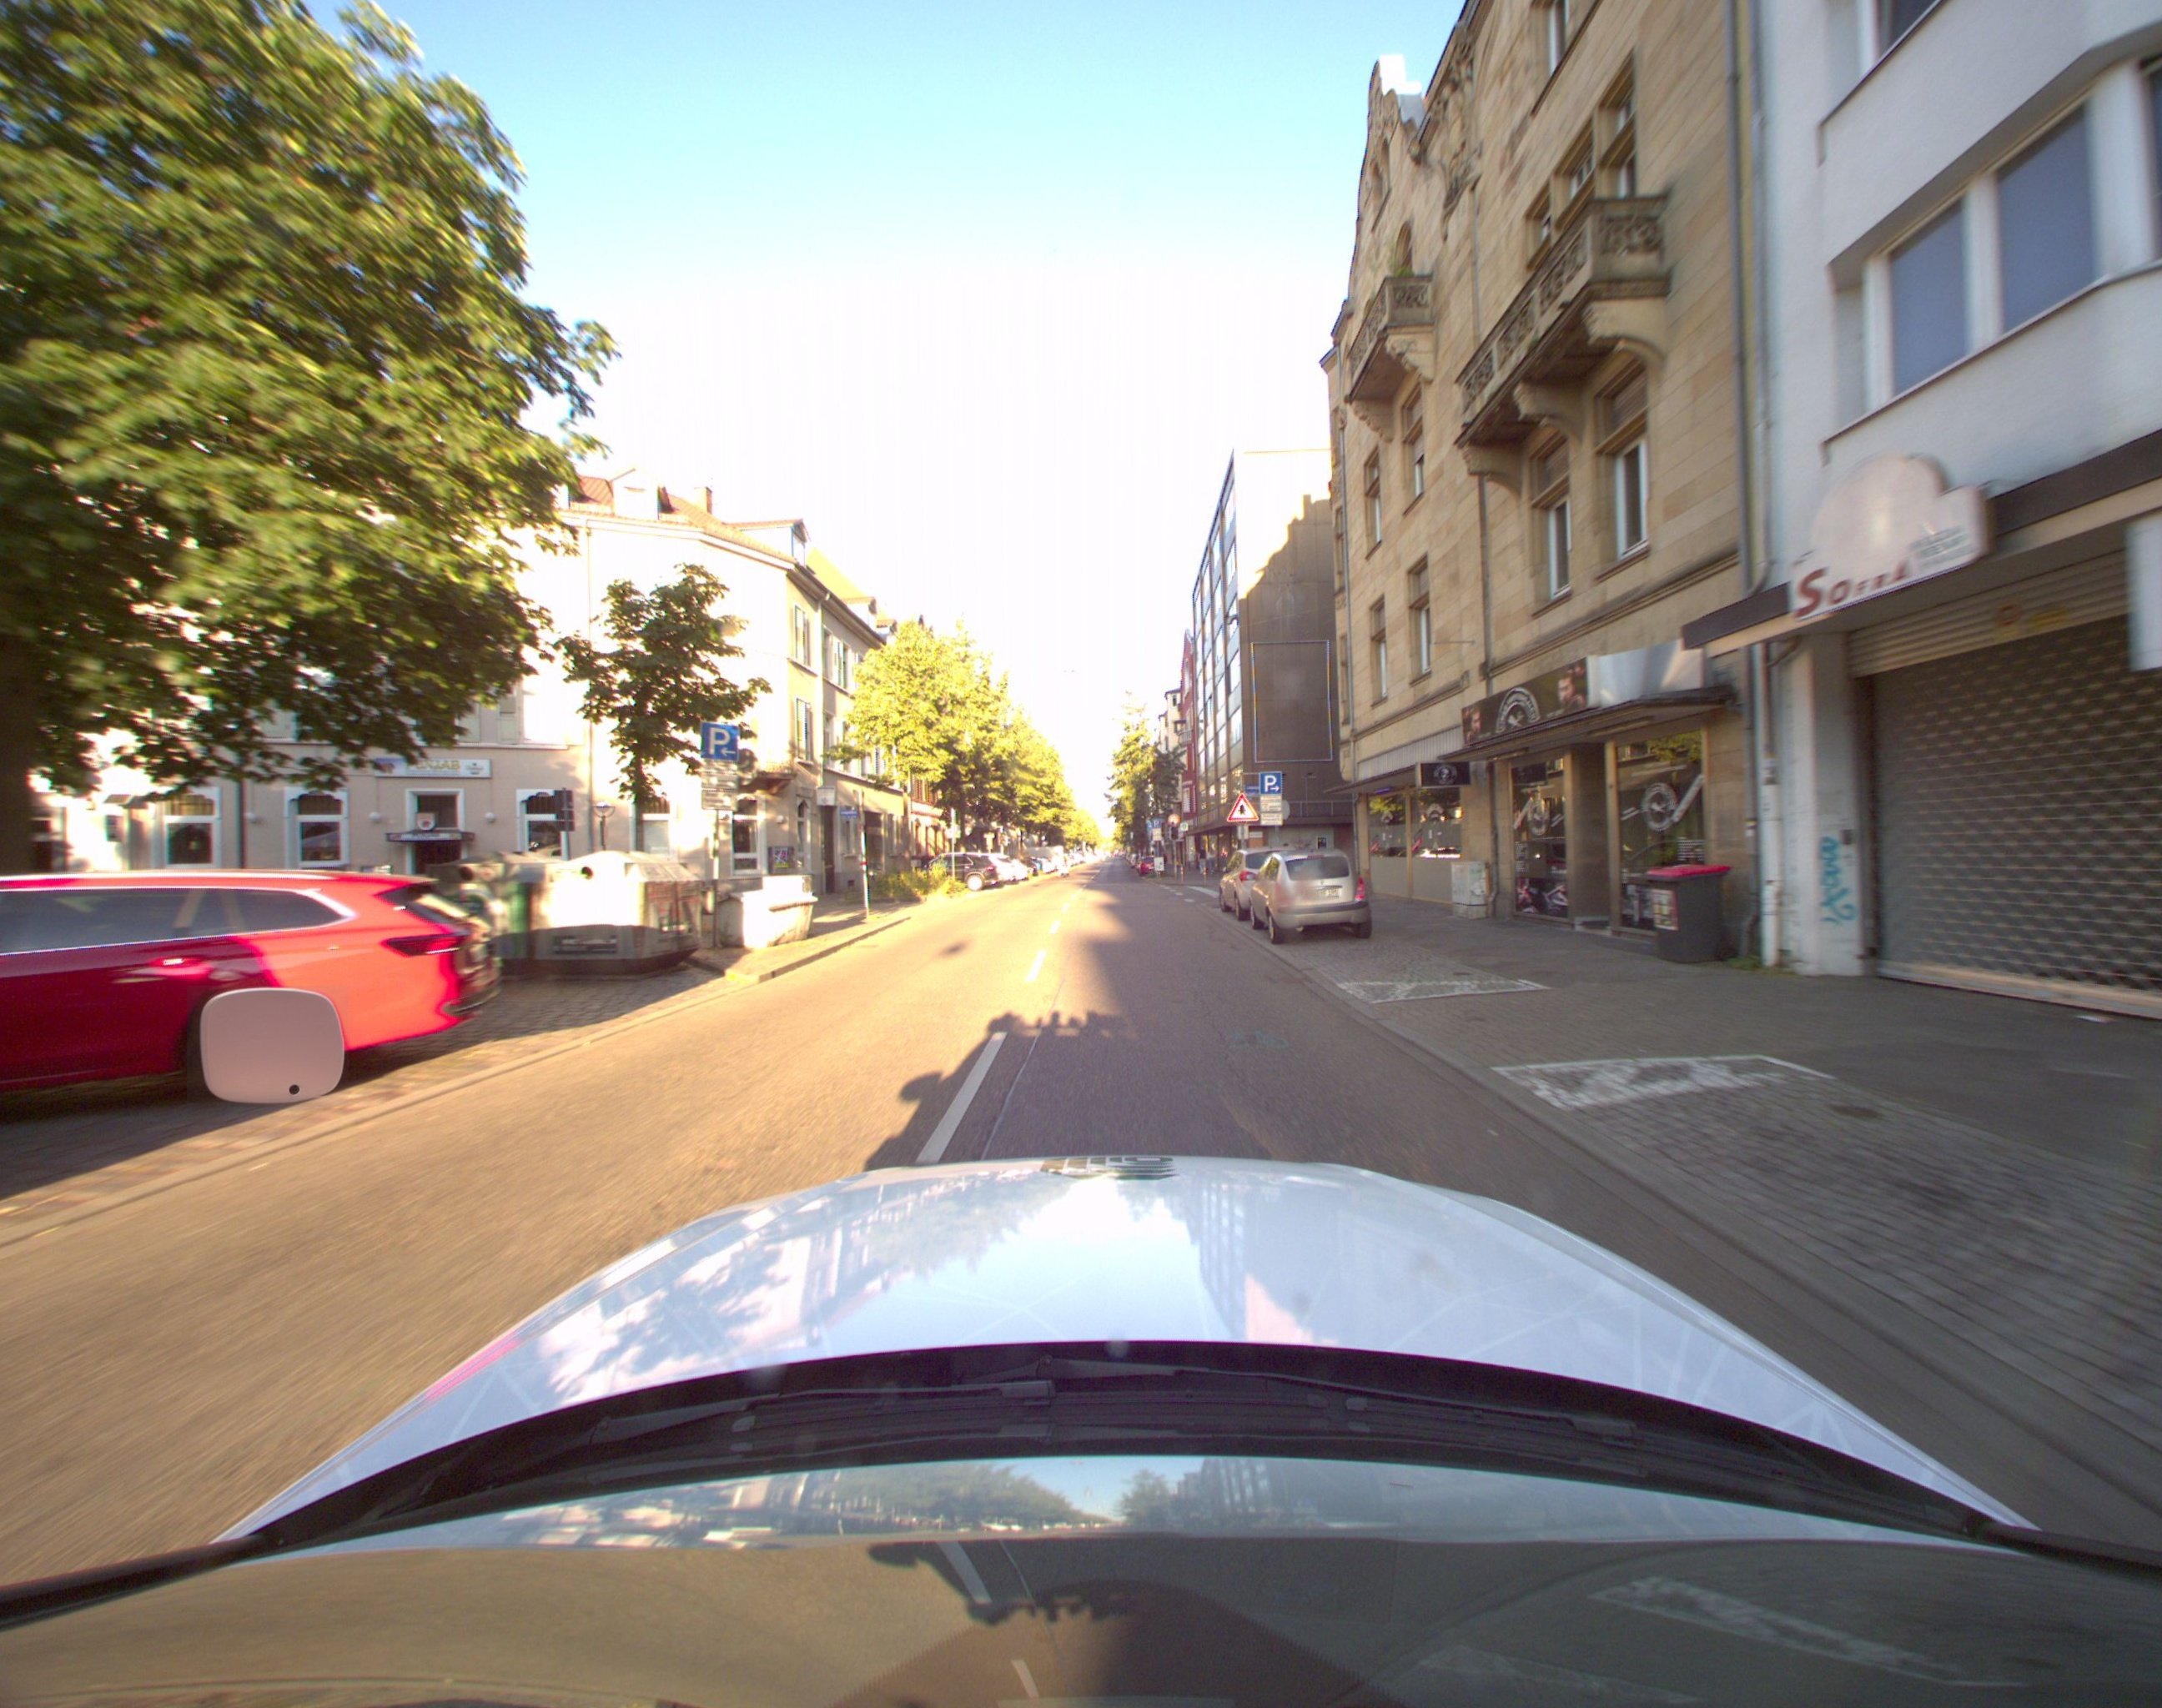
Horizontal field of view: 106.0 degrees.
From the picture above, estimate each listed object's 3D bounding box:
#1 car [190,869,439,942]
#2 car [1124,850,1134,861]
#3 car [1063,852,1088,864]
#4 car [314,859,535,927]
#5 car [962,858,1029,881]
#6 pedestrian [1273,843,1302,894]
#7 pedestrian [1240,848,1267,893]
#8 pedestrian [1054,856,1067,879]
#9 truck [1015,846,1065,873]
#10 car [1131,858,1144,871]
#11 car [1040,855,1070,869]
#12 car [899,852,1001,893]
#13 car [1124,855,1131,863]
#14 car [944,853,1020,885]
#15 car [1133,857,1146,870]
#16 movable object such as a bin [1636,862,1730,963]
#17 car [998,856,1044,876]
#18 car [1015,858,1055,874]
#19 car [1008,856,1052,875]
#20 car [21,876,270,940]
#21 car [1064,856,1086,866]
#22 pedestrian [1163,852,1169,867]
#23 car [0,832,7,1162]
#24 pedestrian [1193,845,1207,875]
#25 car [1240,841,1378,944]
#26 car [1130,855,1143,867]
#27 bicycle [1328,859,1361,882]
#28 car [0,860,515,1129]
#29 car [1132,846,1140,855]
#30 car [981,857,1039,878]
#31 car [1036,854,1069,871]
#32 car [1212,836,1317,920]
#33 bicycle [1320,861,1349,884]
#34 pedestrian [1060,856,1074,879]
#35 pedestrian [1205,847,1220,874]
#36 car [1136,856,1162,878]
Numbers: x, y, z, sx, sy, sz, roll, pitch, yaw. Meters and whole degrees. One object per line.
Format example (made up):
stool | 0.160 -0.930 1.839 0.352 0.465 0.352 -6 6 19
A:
car | -16.492 1.052 17.748 3.526 1.381 1.695 -1 0 -21
car | 7.047 0.272 120.045 1.305 1.600 2.660 -1 -1 0
car | -0.879 0.595 125.148 3.725 1.708 2.001 0 0 1
car | -18.262 1.028 22.965 4.438 1.677 1.945 -1 0 -24
car | -5.559 0.996 53.404 4.159 1.507 2.001 0 0 1
pedestrian | 7.412 0.511 29.333 0.752 1.767 1.223 0 0 1
pedestrian | 6.297 0.590 29.840 0.752 1.640 1.259 0 0 1
pedestrian | -1.529 1.017 60.913 0.720 1.673 0.702 0 0 -38
truck | -4.232 0.560 84.957 4.922 2.615 2.001 -1 0 1
car | 6.020 1.104 86.441 1.202 1.300 2.660 -1 -1 0
car | -3.430 1.073 106.124 3.725 1.708 2.001 -1 0 1
car | -6.161 0.864 38.650 4.432 1.835 2.034 0 0 1
car | 9.487 0.925 165.635 1.305 1.600 2.660 -1 -1 0
car | -5.482 0.837 45.389 3.975 1.708 1.834 0 0 1
car | 5.985 0.984 83.359 1.202 1.300 2.660 -1 -1 0
movable object such as a bin | 6.806 0.646 9.237 0.593 1.085 0.664 0 0 3
car | -5.191 1.015 70.754 3.725 1.642 2.001 -1 0 1
car | -4.418 1.123 78.537 3.725 1.449 2.001 -1 0 1
car | -4.573 1.067 73.501 3.725 1.596 2.000 -1 -2 1
car | -23.449 1.311 20.598 3.838 1.411 1.531 -1 0 -21
car | -1.053 1.144 142.975 3.725 1.708 2.001 0 0 1
pedestrian | 8.969 0.564 85.986 0.531 1.622 0.534 0 0 2
car | -6.749 0.727 2.359 4.015 1.696 1.731 0 0 -34
pedestrian | 7.807 0.388 53.315 0.712 1.865 0.680 -3 0 -1
car | 4.037 0.602 15.043 1.672 1.561 4.005 -3 0 5
car | 6.397 0.841 93.903 1.202 1.300 2.660 -1 -1 0
bicycle | 12.620 0.780 39.034 0.416 1.038 1.761 -1 1 -24
car | -6.463 0.835 5.640 4.013 1.486 1.980 -1 0 -31
car | 9.837 -0.600 146.039 1.305 1.600 2.660 -1 -1 0
car | -5.689 1.078 65.939 4.410 1.503 2.001 -1 0 1
car | -3.335 0.956 95.559 3.725 1.859 2.001 -1 0 1
car | 4.290 0.505 19.621 1.690 1.769 4.002 -2 0 2
bicycle | 11.750 0.840 37.809 0.415 1.030 1.681 -1 1 -16
pedestrian | -1.070 1.044 62.125 0.727 1.683 0.749 -3 2 -38
pedestrian | 8.614 0.429 53.311 0.763 1.689 0.786 -3 0 0
car | 5.150 0.959 61.814 1.572 1.543 3.396 -3 -1 0
